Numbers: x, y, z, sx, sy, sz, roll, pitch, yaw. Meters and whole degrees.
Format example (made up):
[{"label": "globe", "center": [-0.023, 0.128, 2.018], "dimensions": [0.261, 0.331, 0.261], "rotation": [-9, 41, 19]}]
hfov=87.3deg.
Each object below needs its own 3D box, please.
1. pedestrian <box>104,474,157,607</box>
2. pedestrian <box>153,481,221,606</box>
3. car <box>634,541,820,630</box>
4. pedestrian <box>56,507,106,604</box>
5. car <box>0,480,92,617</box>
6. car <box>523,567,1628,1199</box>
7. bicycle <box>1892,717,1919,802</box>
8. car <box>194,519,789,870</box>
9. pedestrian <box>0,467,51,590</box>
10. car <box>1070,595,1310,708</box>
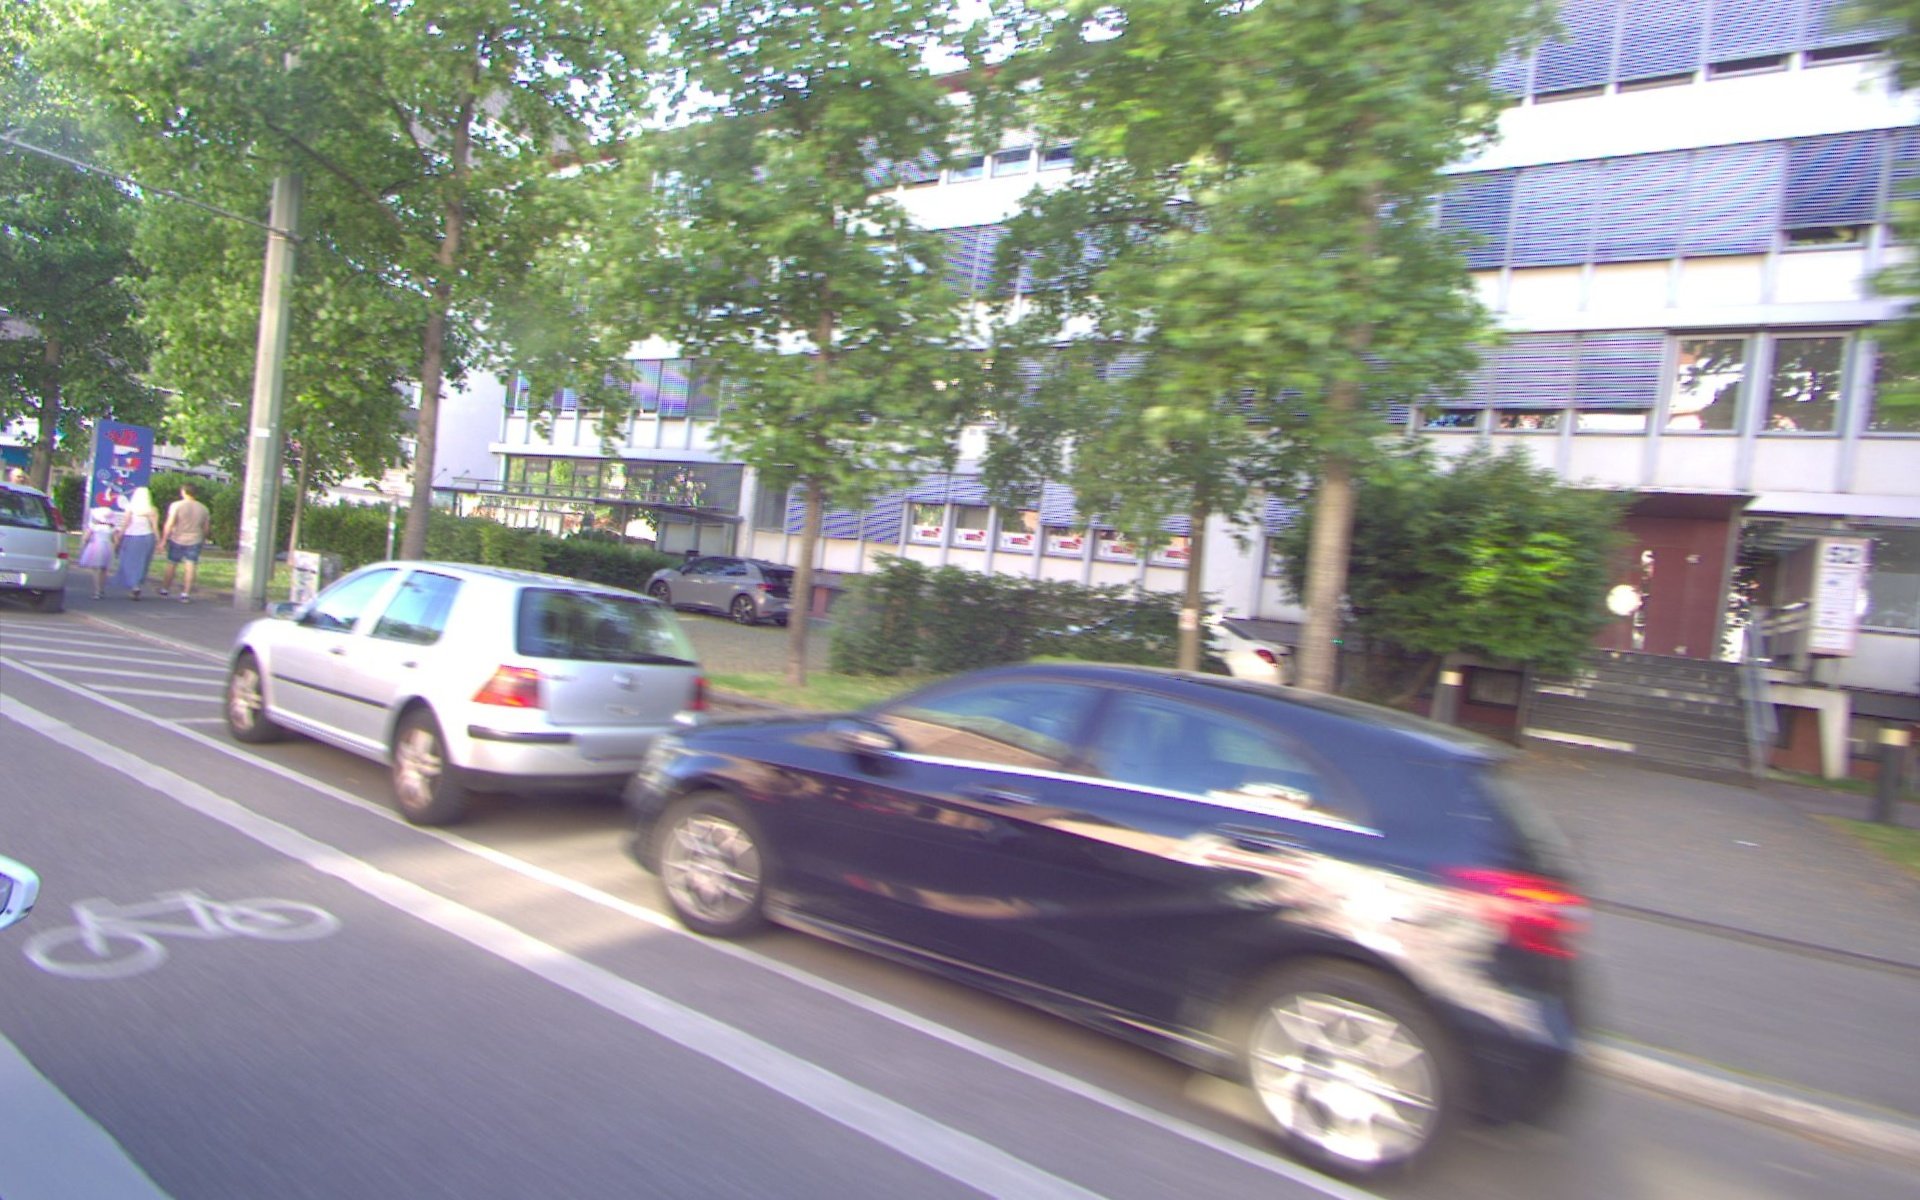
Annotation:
[{"label": "pedestrian", "center": [-12.900, -0.924, 15.642], "dimensions": [0.736, 1.982, 0.464], "rotation": [8, 6, 37]}, {"label": "pedestrian", "center": [-12.446, -0.897, 16.193], "dimensions": [0.736, 1.925, 0.667], "rotation": [8, 6, 37]}, {"label": "car", "center": [-5.772, -0.365, 24.809], "dimensions": [4.235, 1.556, 1.792], "rotation": [9, 2, 29]}, {"label": "pedestrian", "center": [-13.292, -0.667, 15.208], "dimensions": [0.416, 1.417, 0.455], "rotation": [8, 4, 36]}, {"label": "car", "center": [-13.457, -0.875, 13.284], "dimensions": [3.996, 1.610, 1.717], "rotation": [8, 0, 30]}, {"label": "car", "center": [0.278, 0.876, 4.500], "dimensions": [4.250, 1.451, 1.807], "rotation": [7, -1, 30]}, {"label": "bicycle", "center": [13.897, 2.328, 14.245], "dimensions": [0.441, 1.130, 1.585], "rotation": [8, 3, 26]}, {"label": "car", "center": [-3.356, 0.429, 6.843], "dimensions": [4.248, 1.461, 1.750], "rotation": [8, 0, 36]}, {"label": "pedestrian", "center": [-14.642, -1.112, 15.605], "dimensions": [0.593, 1.832, 0.611], "rotation": [8, 3, 36]}, {"label": "car", "center": [4.269, 0.907, 18.653], "dimensions": [3.928, 1.483, 1.793], "rotation": [7, 1, 25]}]
